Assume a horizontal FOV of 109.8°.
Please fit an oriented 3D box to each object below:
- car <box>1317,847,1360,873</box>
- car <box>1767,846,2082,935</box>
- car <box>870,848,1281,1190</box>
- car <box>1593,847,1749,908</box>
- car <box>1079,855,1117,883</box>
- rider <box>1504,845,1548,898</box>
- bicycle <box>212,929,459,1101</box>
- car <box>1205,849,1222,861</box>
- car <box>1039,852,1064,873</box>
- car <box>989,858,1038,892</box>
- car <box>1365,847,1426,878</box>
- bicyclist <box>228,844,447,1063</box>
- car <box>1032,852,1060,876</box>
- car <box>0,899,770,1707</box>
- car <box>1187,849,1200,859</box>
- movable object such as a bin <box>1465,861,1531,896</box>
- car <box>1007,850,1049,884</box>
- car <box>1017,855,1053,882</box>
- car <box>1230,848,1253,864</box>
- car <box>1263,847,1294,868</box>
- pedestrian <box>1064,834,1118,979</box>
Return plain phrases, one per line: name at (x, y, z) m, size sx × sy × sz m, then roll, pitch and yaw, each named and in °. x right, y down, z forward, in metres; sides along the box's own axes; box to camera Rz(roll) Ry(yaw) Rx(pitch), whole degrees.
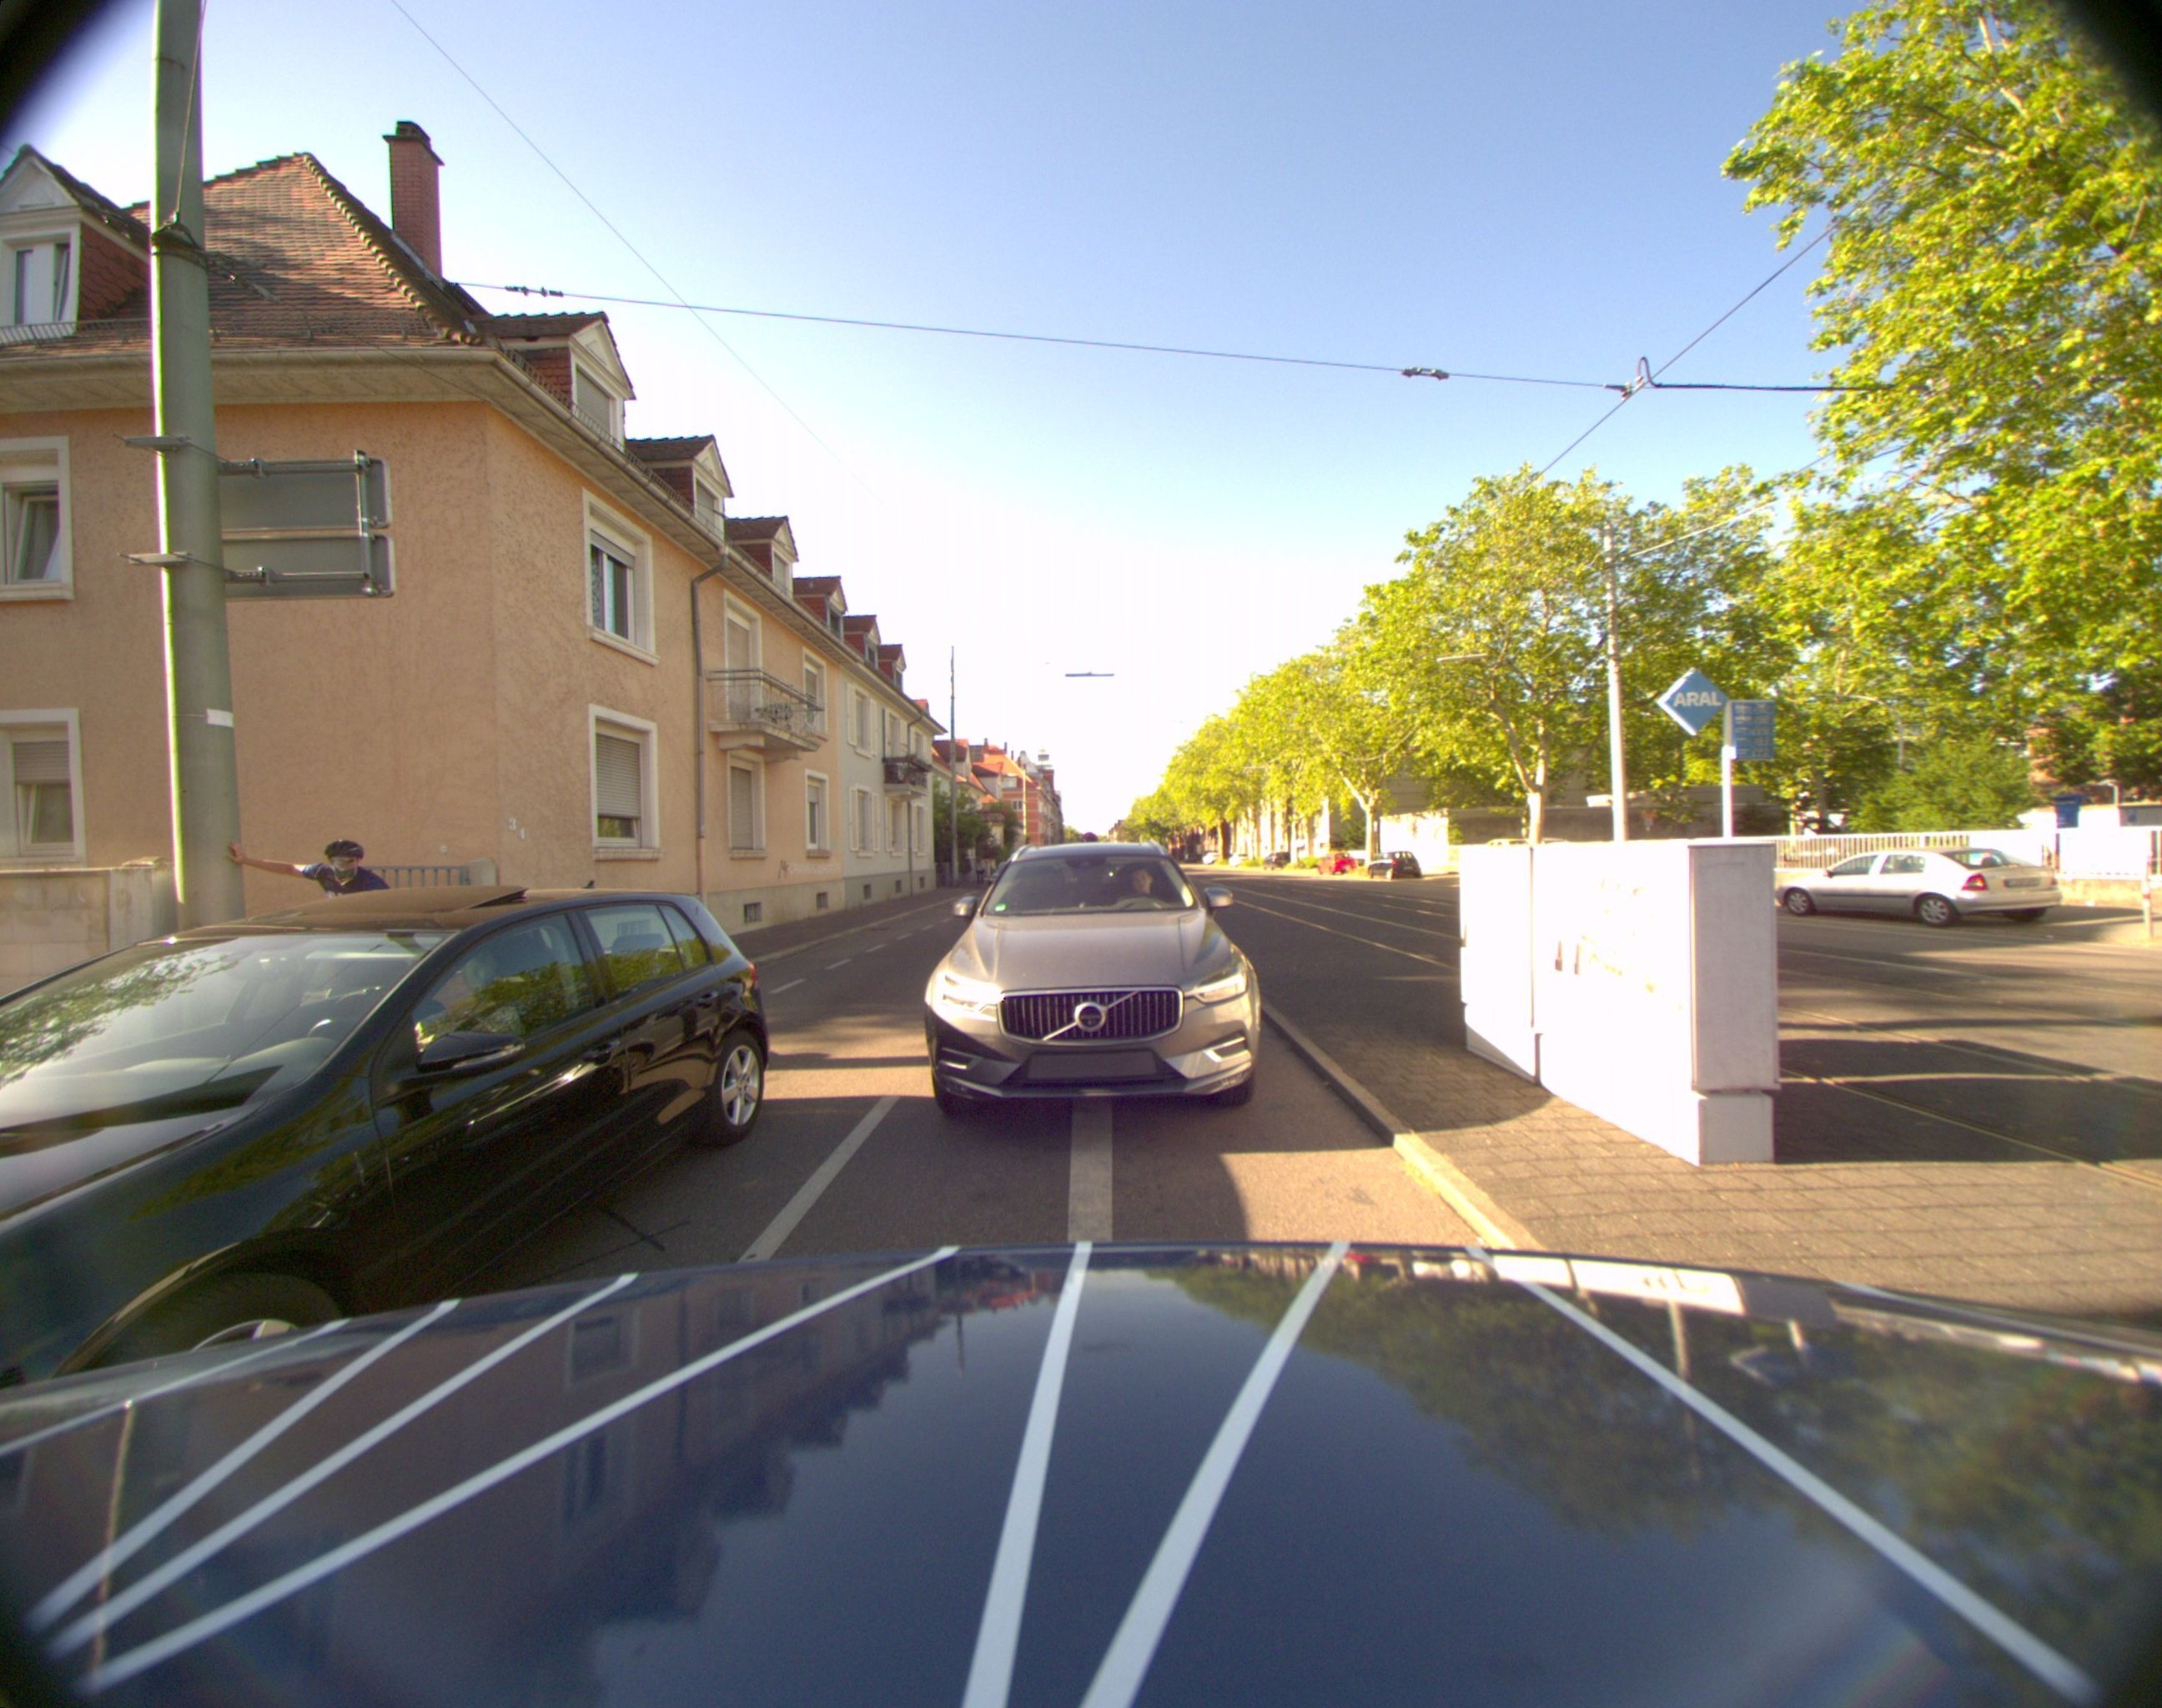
car at (16.896, 0.378, 50.012) m, size 1.661 × 1.486 × 3.377 m, roll -5°, pitch 1°, yaw 3°
car at (16.200, 0.624, 14.964) m, size 1.687 × 1.358 × 3.989 m, roll -6°, pitch 0°, yaw 1°
car at (0.124, 0.796, 5.836) m, size 1.924 × 1.579 × 4.387 m, roll -2°, pitch 1°, yaw 4°
car at (16.445, 0.587, 21.400) m, size 1.619 × 1.436 × 3.606 m, roll -5°, pitch 1°, yaw 3°
car at (1.011, 0.801, 42.326) m, size 1.825 × 1.422 × 4.492 m, roll -2°, pitch -1°, yaw 4°
rider at (14.498, 0.550, 24.780) m, size 0.725 × 1.639 × 1.106 m, roll -2°, pitch 1°, yaw -4°
bicycle at (-6.046, 1.250, 6.299) m, size 0.556 × 1.069 × 1.624 m, roll 2°, pitch 0°, yaw -7°
car at (17.585, 0.088, 100.692) m, size 1.661 × 1.452 × 3.730 m, roll -5°, pitch 1°, yaw 3°
car at (-2.587, 0.689, 67.293) m, size 1.825 × 1.701 × 4.334 m, roll -2°, pitch 1°, yaw 1°
car at (-3.227, 0.960, 37.153) m, size 1.825 × 1.422 × 4.334 m, roll -2°, pitch 1°, yaw 1°
car at (16.841, 0.438, 40.852) m, size 1.723 × 1.436 × 3.769 m, roll -5°, pitch 1°, yaw 3°
bicyclist at (-6.092, 0.786, 6.284) m, size 1.021 × 1.684 × 0.729 m, roll 2°, pitch 0°, yaw -7°
car at (-2.776, 0.768, 60.927) m, size 1.825 × 1.701 × 4.334 m, roll -2°, pitch 1°, yaw 1°
car at (-2.795, 1.044, 2.601) m, size 1.717 × 1.430 × 3.990 m, roll -2°, pitch 1°, yaw 1°
car at (18.568, 0.043, 125.568) m, size 1.661 × 1.452 × 3.730 m, roll -5°, pitch 1°, yaw 3°
movable object such as a bin at (14.368, 0.816, 26.231) m, size 1.178 × 1.097 × 1.834 m, roll -2°, pitch 1°, yaw -4°
car at (-2.903, 0.685, 42.408) m, size 1.825 × 1.701 × 4.334 m, roll -2°, pitch 1°, yaw 1°
car at (-2.784, 0.865, 46.987) m, size 1.825 × 1.424 × 4.334 m, roll -2°, pitch 1°, yaw 1°
car at (17.629, 0.234, 83.478) m, size 1.754 × 1.532 × 3.878 m, roll -5°, pitch 1°, yaw 3°
car at (17.132, 0.289, 65.977) m, size 1.754 × 1.582 × 3.878 m, roll -5°, pitch 1°, yaw 3°
pedestrian at (0.133, 0.670, 9.989) m, size 0.609 × 1.832 × 0.599 m, roll -2°, pitch 1°, yaw 1°
